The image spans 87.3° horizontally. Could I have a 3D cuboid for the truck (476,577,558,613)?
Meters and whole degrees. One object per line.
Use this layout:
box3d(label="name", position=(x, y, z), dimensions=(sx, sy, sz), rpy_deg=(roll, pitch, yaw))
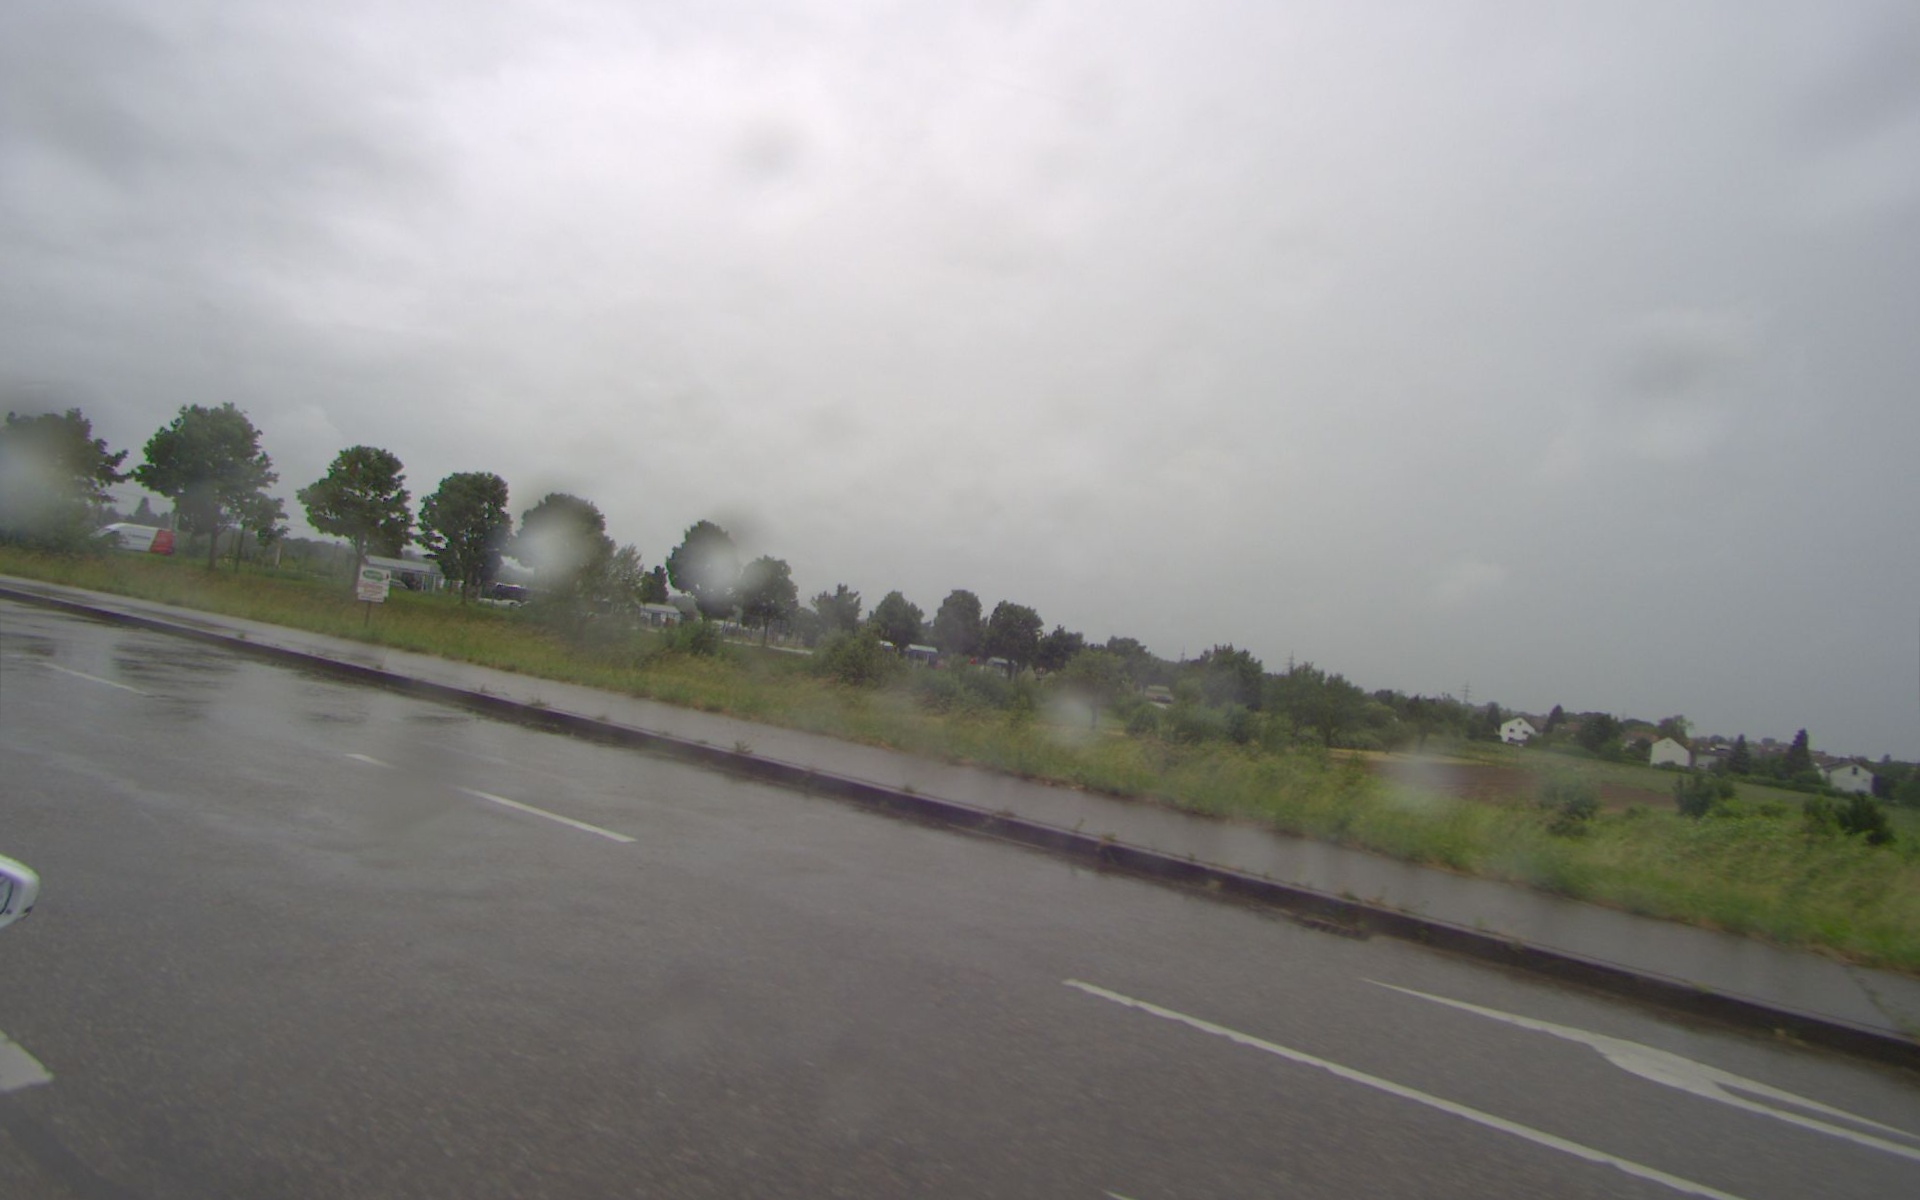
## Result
box3d(label="truck", position=(-51.241, -0.551, 116.579), dimensions=(2.609, 2.862, 8.853), rpy_deg=(7, -3, 26))
